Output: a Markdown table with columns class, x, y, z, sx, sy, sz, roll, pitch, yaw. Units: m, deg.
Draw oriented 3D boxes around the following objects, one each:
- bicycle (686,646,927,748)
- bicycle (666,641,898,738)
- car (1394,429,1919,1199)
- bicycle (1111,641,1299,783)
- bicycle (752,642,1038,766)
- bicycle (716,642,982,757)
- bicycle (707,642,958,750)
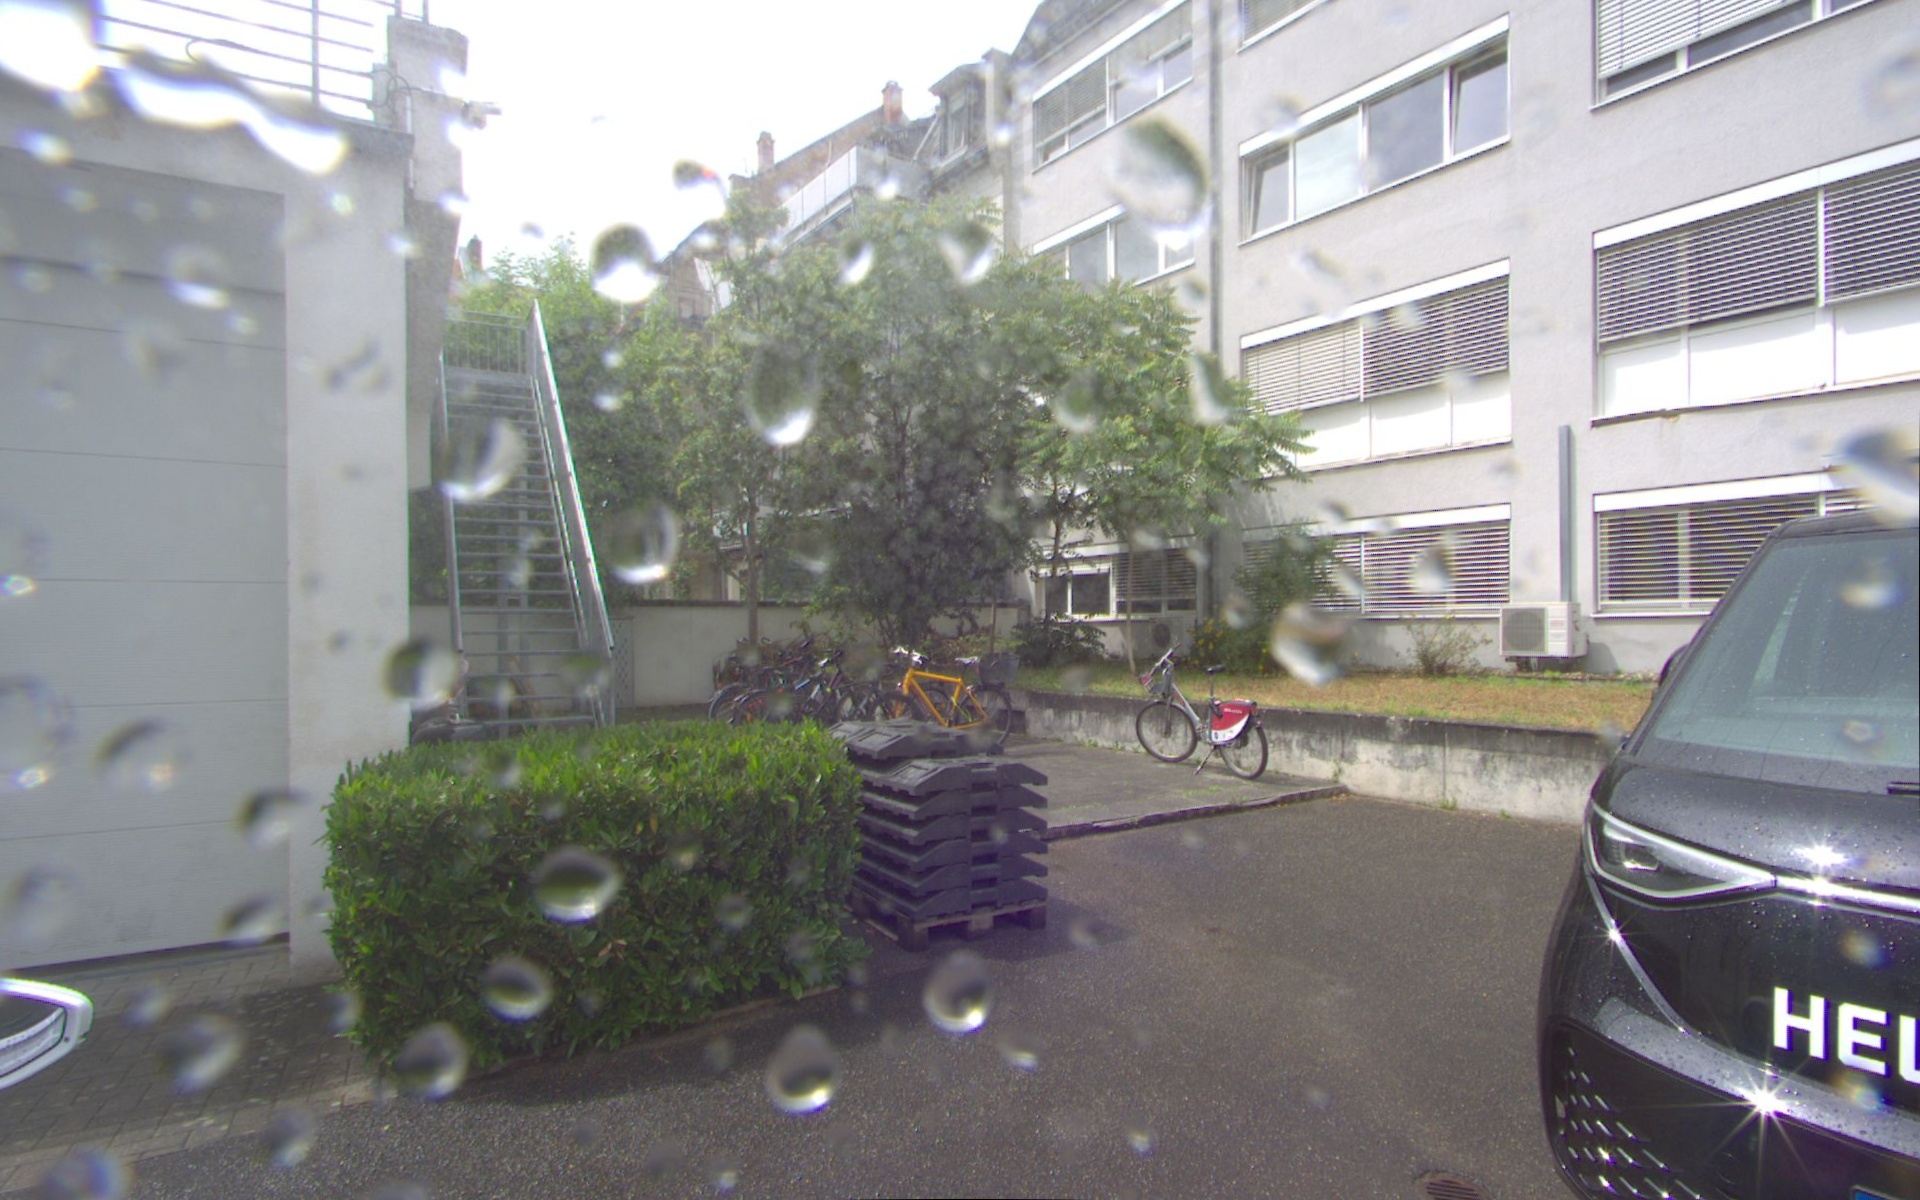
| class | x | y | z | sx | sy | sz | roll | pitch | yaw |
| --- | --- | --- | --- | --- | --- | --- | --- | --- | --- |
| bicycle | -1.787 | 1.119 | 12.017 | 2.815 | 1.092 | 0.685 | 2 | -1 | -33 |
| bicycle | -2.183 | 1.091 | 12.598 | 2.815 | 1.092 | 0.685 | 2 | -1 | -33 |
| car | 3.498 | 0.632 | 2.874 | 4.666 | 1.857 | 2.095 | -1 | 0 | -37 |
| bicycle | 2.235 | 0.983 | 9.336 | 0.608 | 1.173 | 1.711 | 0 | -1 | -36 |
| bicycle | -0.581 | 0.994 | 10.063 | 2.894 | 1.092 | 0.685 | 2 | -1 | -33 |
| bicycle | -1.123 | 1.022 | 10.743 | 2.815 | 1.092 | 0.685 | 2 | -1 | -33 |
| bicycle | -1.396 | 1.053 | 11.423 | 2.815 | 1.092 | 0.685 | 2 | -1 | -33 |
